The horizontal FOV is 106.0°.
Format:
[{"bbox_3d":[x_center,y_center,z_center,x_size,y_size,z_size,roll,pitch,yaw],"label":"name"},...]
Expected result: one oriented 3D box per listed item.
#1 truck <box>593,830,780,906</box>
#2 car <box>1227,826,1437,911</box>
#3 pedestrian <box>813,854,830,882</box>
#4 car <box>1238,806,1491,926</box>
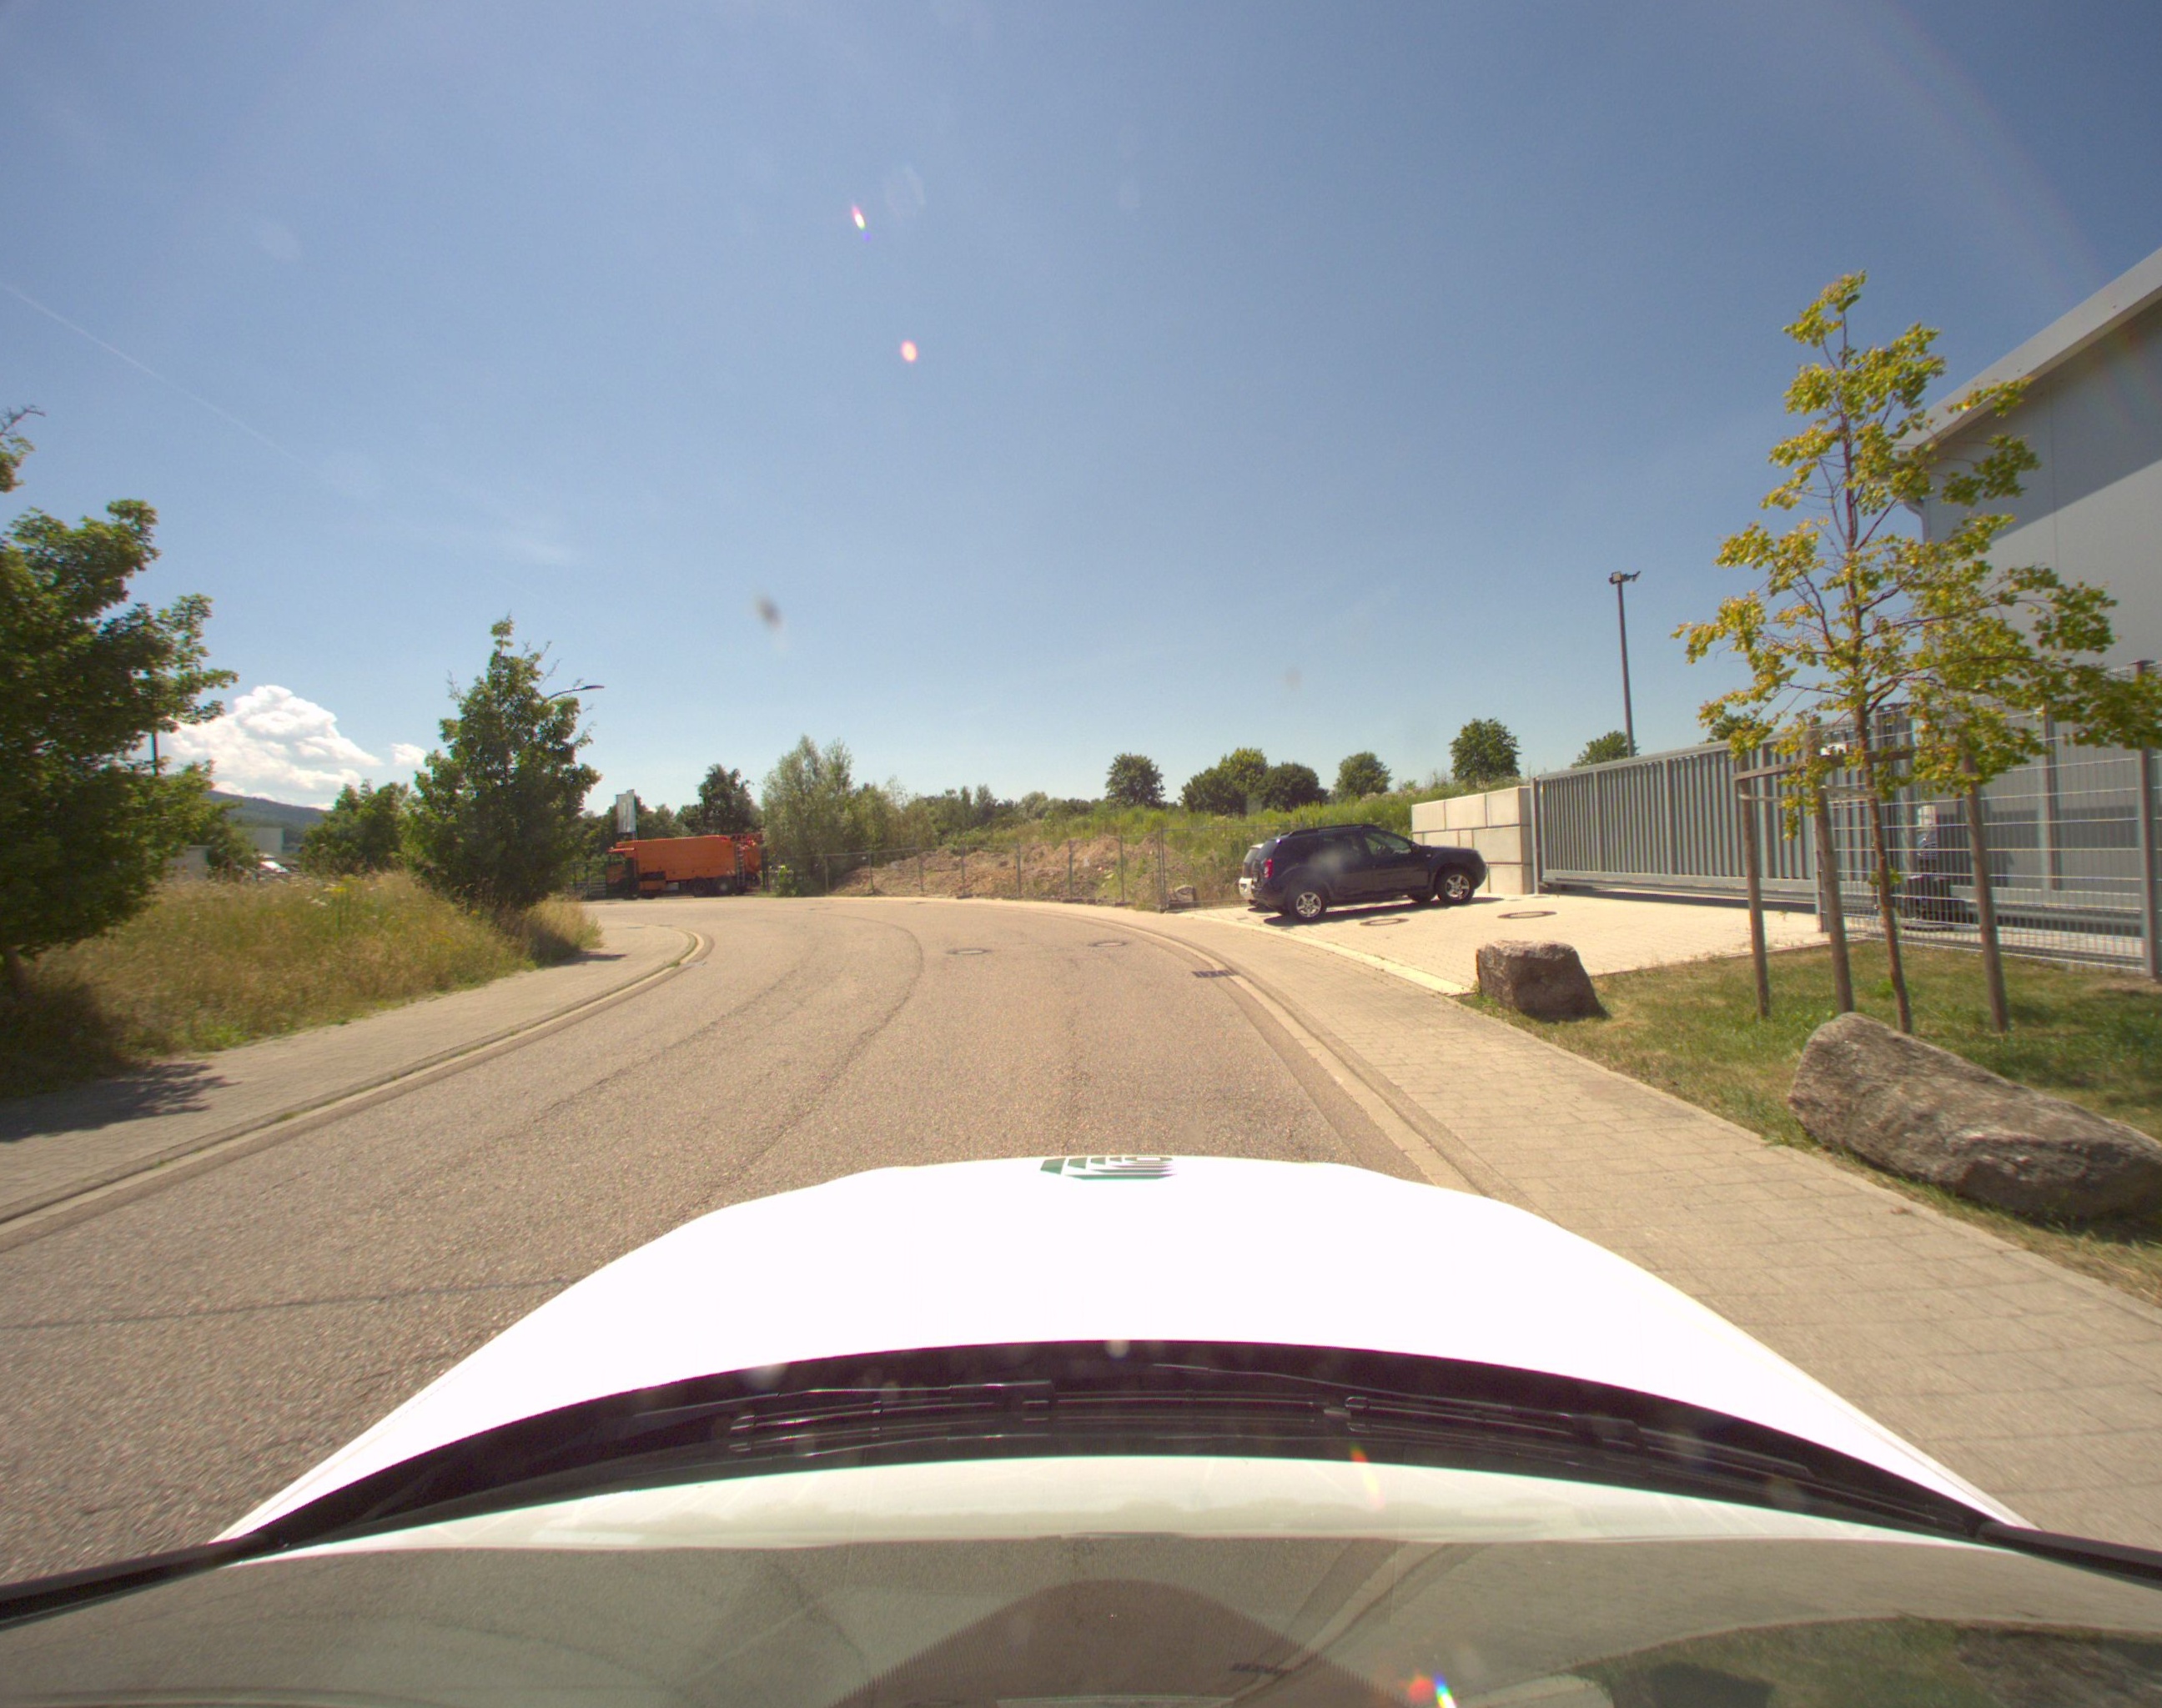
[{"bbox_3d":[-22.543,0.772,47.072,8.559,3.806,4.163,-3,0,-2],"label":"truck"},{"bbox_3d":[5.425,0.299,17.996,3.995,1.462,1.893,-5,0,1],"label":"car"},{"bbox_3d":[-17.450,0.940,54.721,0.873,1.825,0.740,-2,0,1],"label":"pedestrian"},{"bbox_3d":[5.173,0.208,15.309,3.995,1.655,1.859,-7,0,1],"label":"car"}]
